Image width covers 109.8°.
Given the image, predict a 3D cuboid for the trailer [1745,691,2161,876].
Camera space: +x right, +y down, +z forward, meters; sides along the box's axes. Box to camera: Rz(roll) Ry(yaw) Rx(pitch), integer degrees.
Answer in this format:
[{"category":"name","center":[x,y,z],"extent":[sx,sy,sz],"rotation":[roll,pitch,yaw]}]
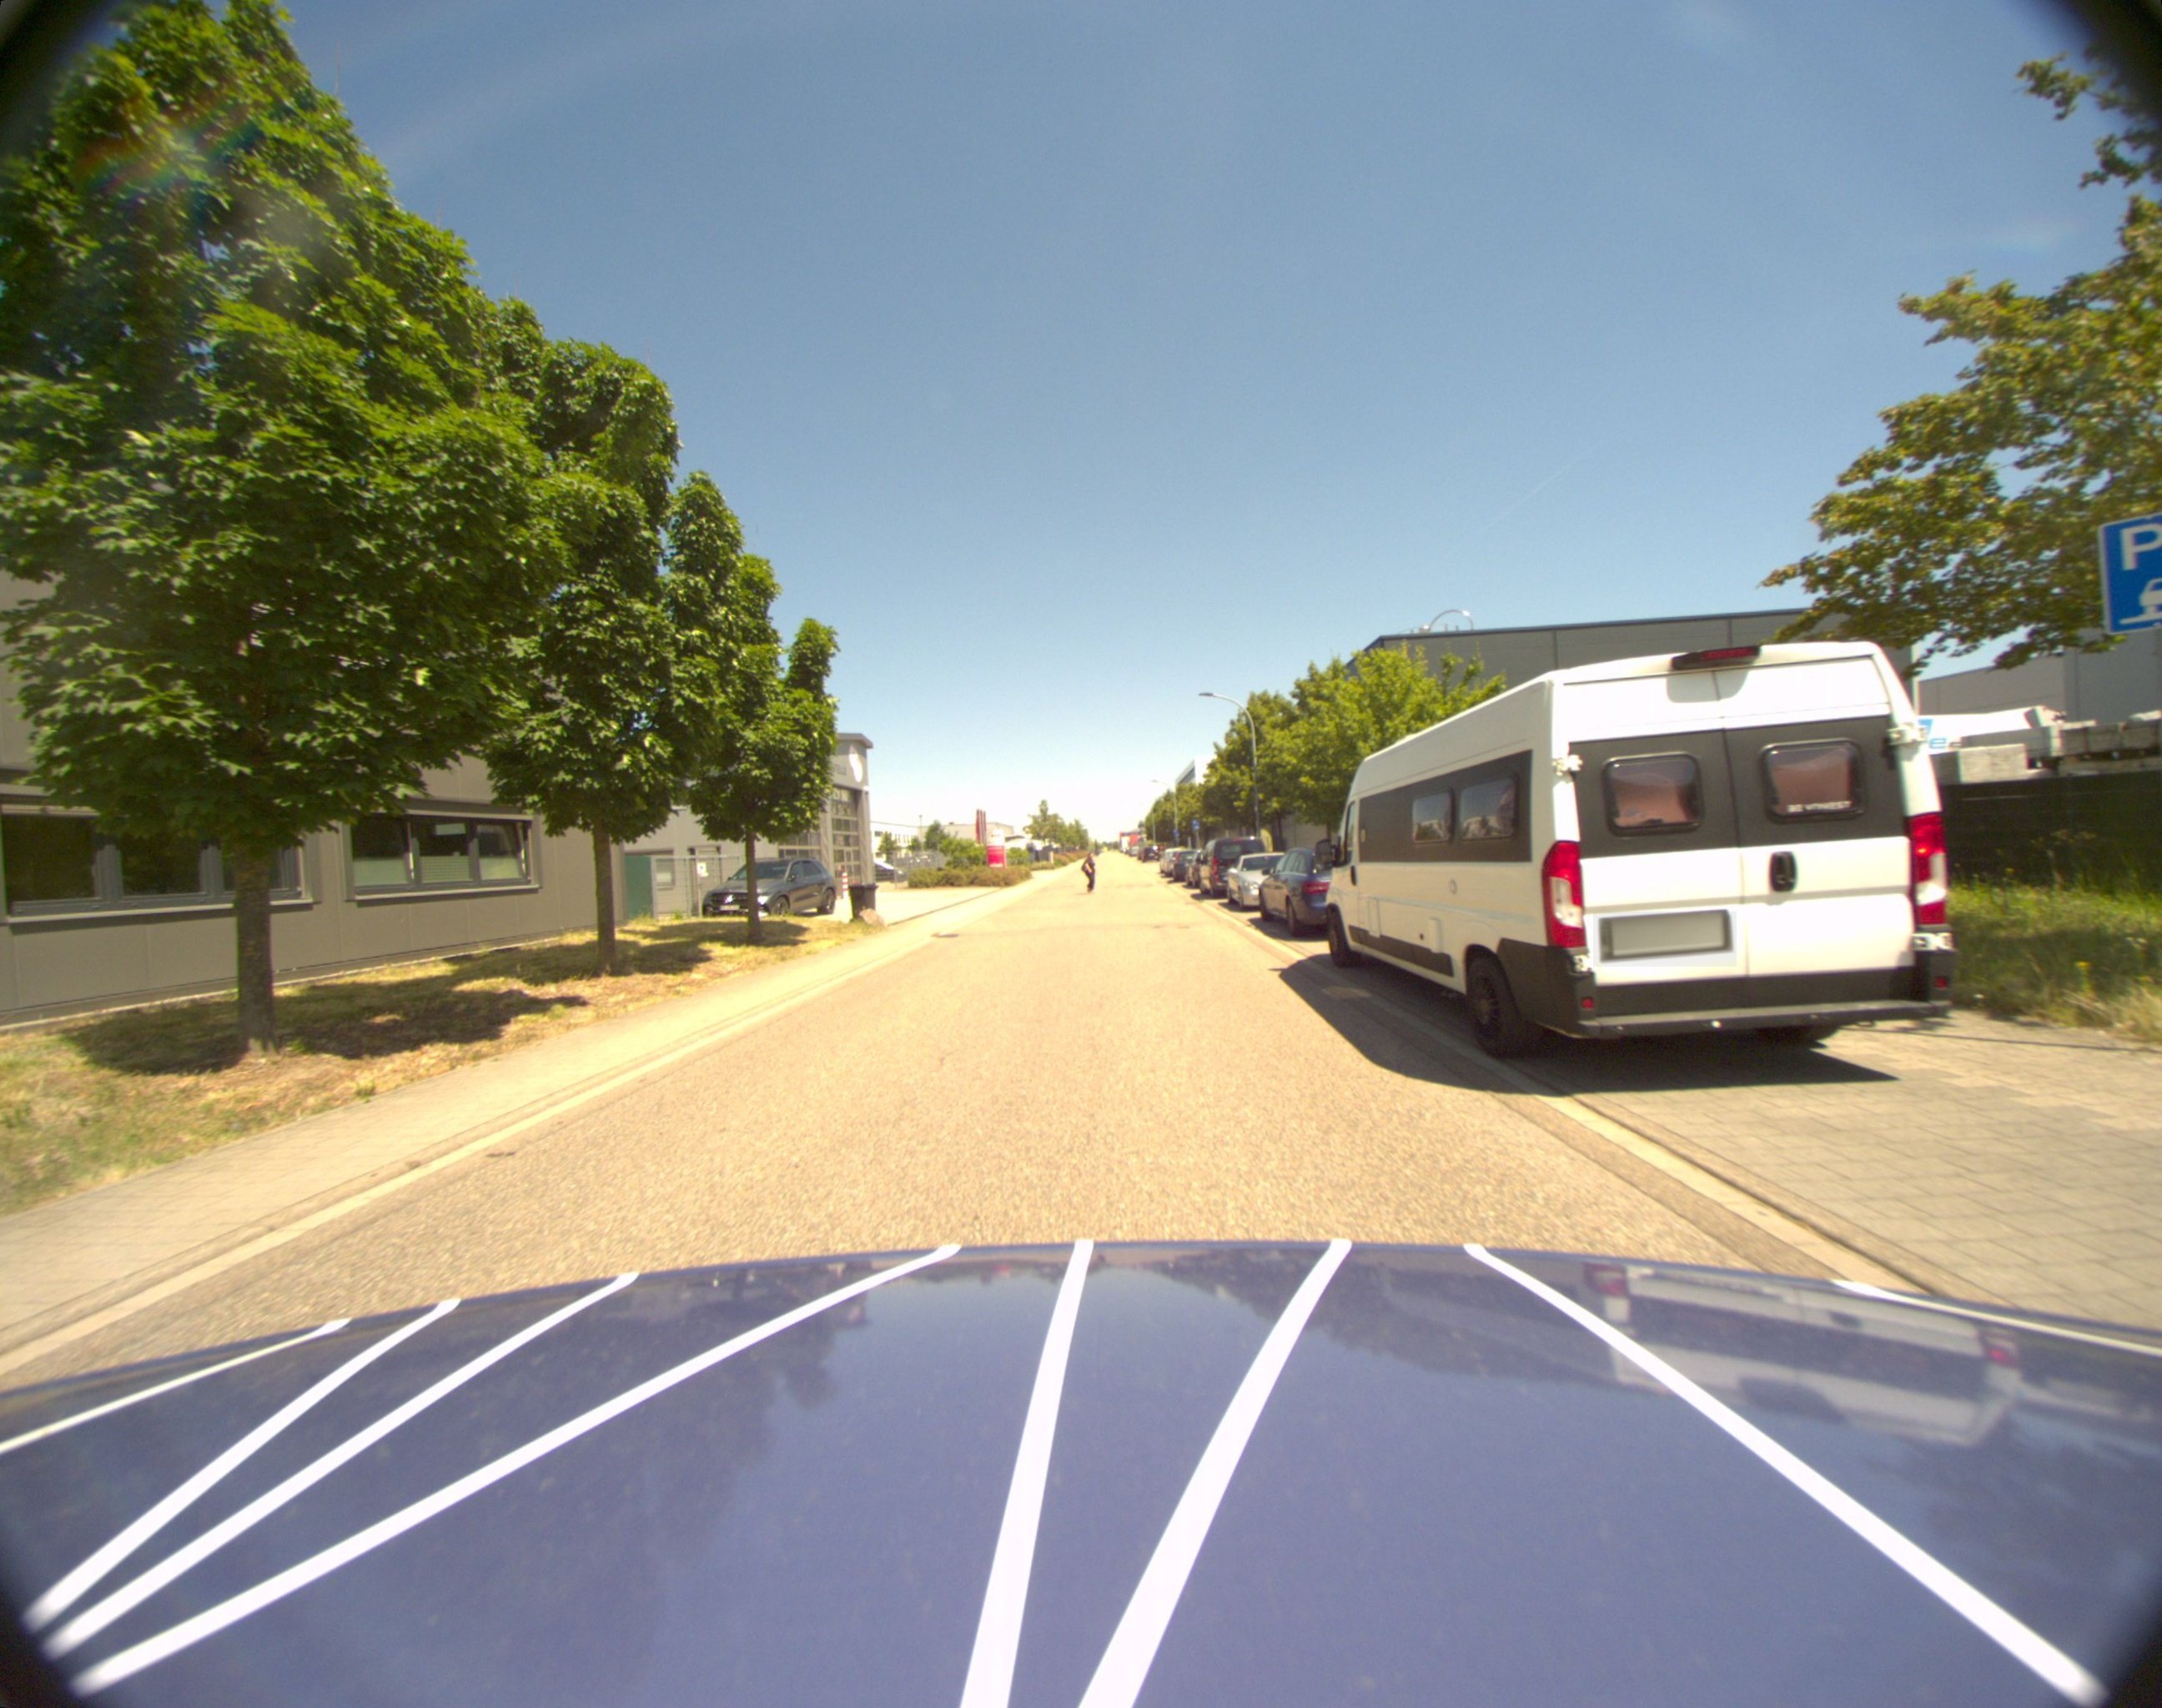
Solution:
[{"category":"trailer","center":[24.118,-1.846,19.608],"extent":[12.537,3.948,3.154],"rotation":[-3,1,-9]}]

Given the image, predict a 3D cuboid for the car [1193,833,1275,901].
[{"category":"car","center":[4.678,0.358,23.760],"extent":[1.835,1.800,4.083],"rotation":[-5,1,4]}]

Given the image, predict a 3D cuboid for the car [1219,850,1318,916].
[{"category":"car","center":[4.507,0.641,18.778],"extent":[1.647,1.303,4.001],"rotation":[-5,0,4]}]

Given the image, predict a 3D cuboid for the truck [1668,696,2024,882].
[{"category":"truck","center":[18.604,-1.526,18.710],"extent":[6.054,3.948,3.154],"rotation":[-3,1,-9]}]

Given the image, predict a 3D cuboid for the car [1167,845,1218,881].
[{"category":"car","center":[5.231,0.395,36.256],"extent":[1.798,1.477,4.452],"rotation":[-5,0,2]}]

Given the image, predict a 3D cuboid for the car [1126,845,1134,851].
[{"category":"car","center":[11.777,-1.398,182.661],"extent":[1.798,1.319,3.831],"rotation":[-5,0,2]}]

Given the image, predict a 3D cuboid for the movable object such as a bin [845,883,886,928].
[{"category":"movable object such as a bin","center":[-5.385,1.274,19.036],"extent":[0.616,1.040,0.810],"rotation":[-2,1,15]}]

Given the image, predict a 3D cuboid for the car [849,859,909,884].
[{"category":"car","center":[-12.879,1.101,48.590],"extent":[3.359,1.361,1.792],"rotation":[-4,1,-2]}]

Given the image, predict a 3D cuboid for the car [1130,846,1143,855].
[{"category":"car","center":[8.753,-0.589,120.206],"extent":[1.798,1.319,3.831],"rotation":[-5,0,2]}]

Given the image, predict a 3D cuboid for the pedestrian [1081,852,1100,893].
[{"category":"pedestrian","center":[0.361,0.706,29.313],"extent":[0.680,1.559,0.534],"rotation":[-1,1,1]}]

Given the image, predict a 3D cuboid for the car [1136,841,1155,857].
[{"category":"car","center":[7.576,-0.646,89.643],"extent":[1.798,1.701,3.831],"rotation":[-5,1,2]}]

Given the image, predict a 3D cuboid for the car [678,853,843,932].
[{"category":"car","center":[-8.719,0.969,21.280],"extent":[2.156,1.800,4.915],"rotation":[-2,1,5]}]

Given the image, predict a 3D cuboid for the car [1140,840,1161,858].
[{"category":"car","center":[7.187,-0.533,78.990],"extent":[1.798,1.638,3.831],"rotation":[-5,1,2]}]

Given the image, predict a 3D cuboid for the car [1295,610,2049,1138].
[{"category":"car","center":[3.927,0.098,7.010],"extent":[2.328,2.583,6.086],"rotation":[-5,1,4]}]

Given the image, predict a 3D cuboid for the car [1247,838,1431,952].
[{"category":"car","center":[4.293,0.580,13.491],"extent":[1.835,1.532,4.625],"rotation":[-5,0,4]}]

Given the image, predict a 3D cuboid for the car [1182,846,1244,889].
[{"category":"car","center":[5.157,0.480,30.191],"extent":[1.798,1.456,4.452],"rotation":[-5,0,3]}]

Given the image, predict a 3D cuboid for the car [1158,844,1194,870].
[{"category":"car","center":[5.947,0.166,48.134],"extent":[1.798,1.477,3.969],"rotation":[-5,0,2]}]

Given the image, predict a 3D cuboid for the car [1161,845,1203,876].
[{"category":"car","center":[5.533,0.307,42.054],"extent":[1.798,1.477,4.190],"rotation":[-5,0,2]}]
